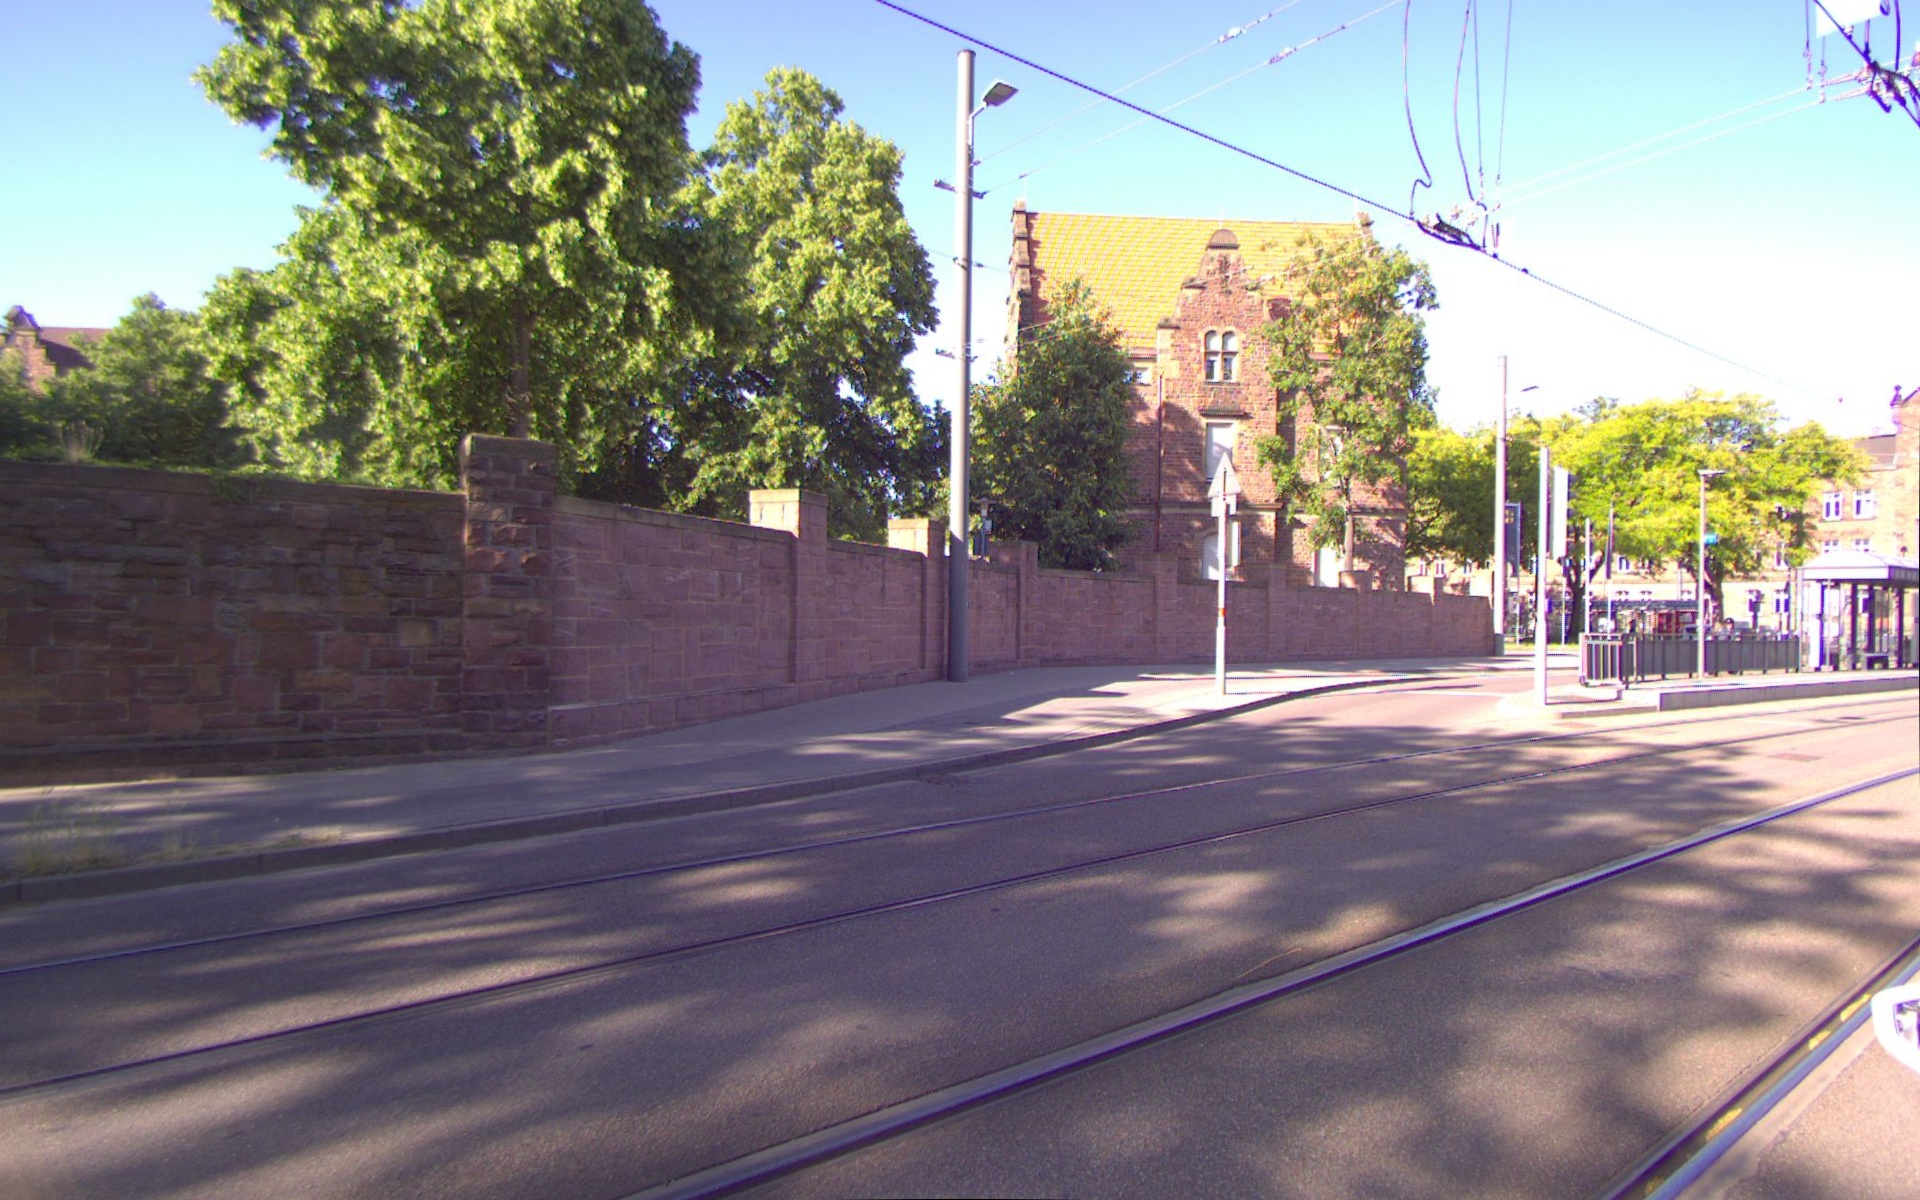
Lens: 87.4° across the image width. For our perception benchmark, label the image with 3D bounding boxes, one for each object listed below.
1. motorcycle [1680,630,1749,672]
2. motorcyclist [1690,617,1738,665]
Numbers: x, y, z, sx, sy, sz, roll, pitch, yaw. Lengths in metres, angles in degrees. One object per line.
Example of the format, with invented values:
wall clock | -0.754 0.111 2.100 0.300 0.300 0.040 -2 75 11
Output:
motorcycle | 22.413 1.502 29.834 2.403 1.169 0.906 1 -1 -34
motorcyclist | 22.387 1.210 29.817 0.899 1.401 0.883 1 0 -34
